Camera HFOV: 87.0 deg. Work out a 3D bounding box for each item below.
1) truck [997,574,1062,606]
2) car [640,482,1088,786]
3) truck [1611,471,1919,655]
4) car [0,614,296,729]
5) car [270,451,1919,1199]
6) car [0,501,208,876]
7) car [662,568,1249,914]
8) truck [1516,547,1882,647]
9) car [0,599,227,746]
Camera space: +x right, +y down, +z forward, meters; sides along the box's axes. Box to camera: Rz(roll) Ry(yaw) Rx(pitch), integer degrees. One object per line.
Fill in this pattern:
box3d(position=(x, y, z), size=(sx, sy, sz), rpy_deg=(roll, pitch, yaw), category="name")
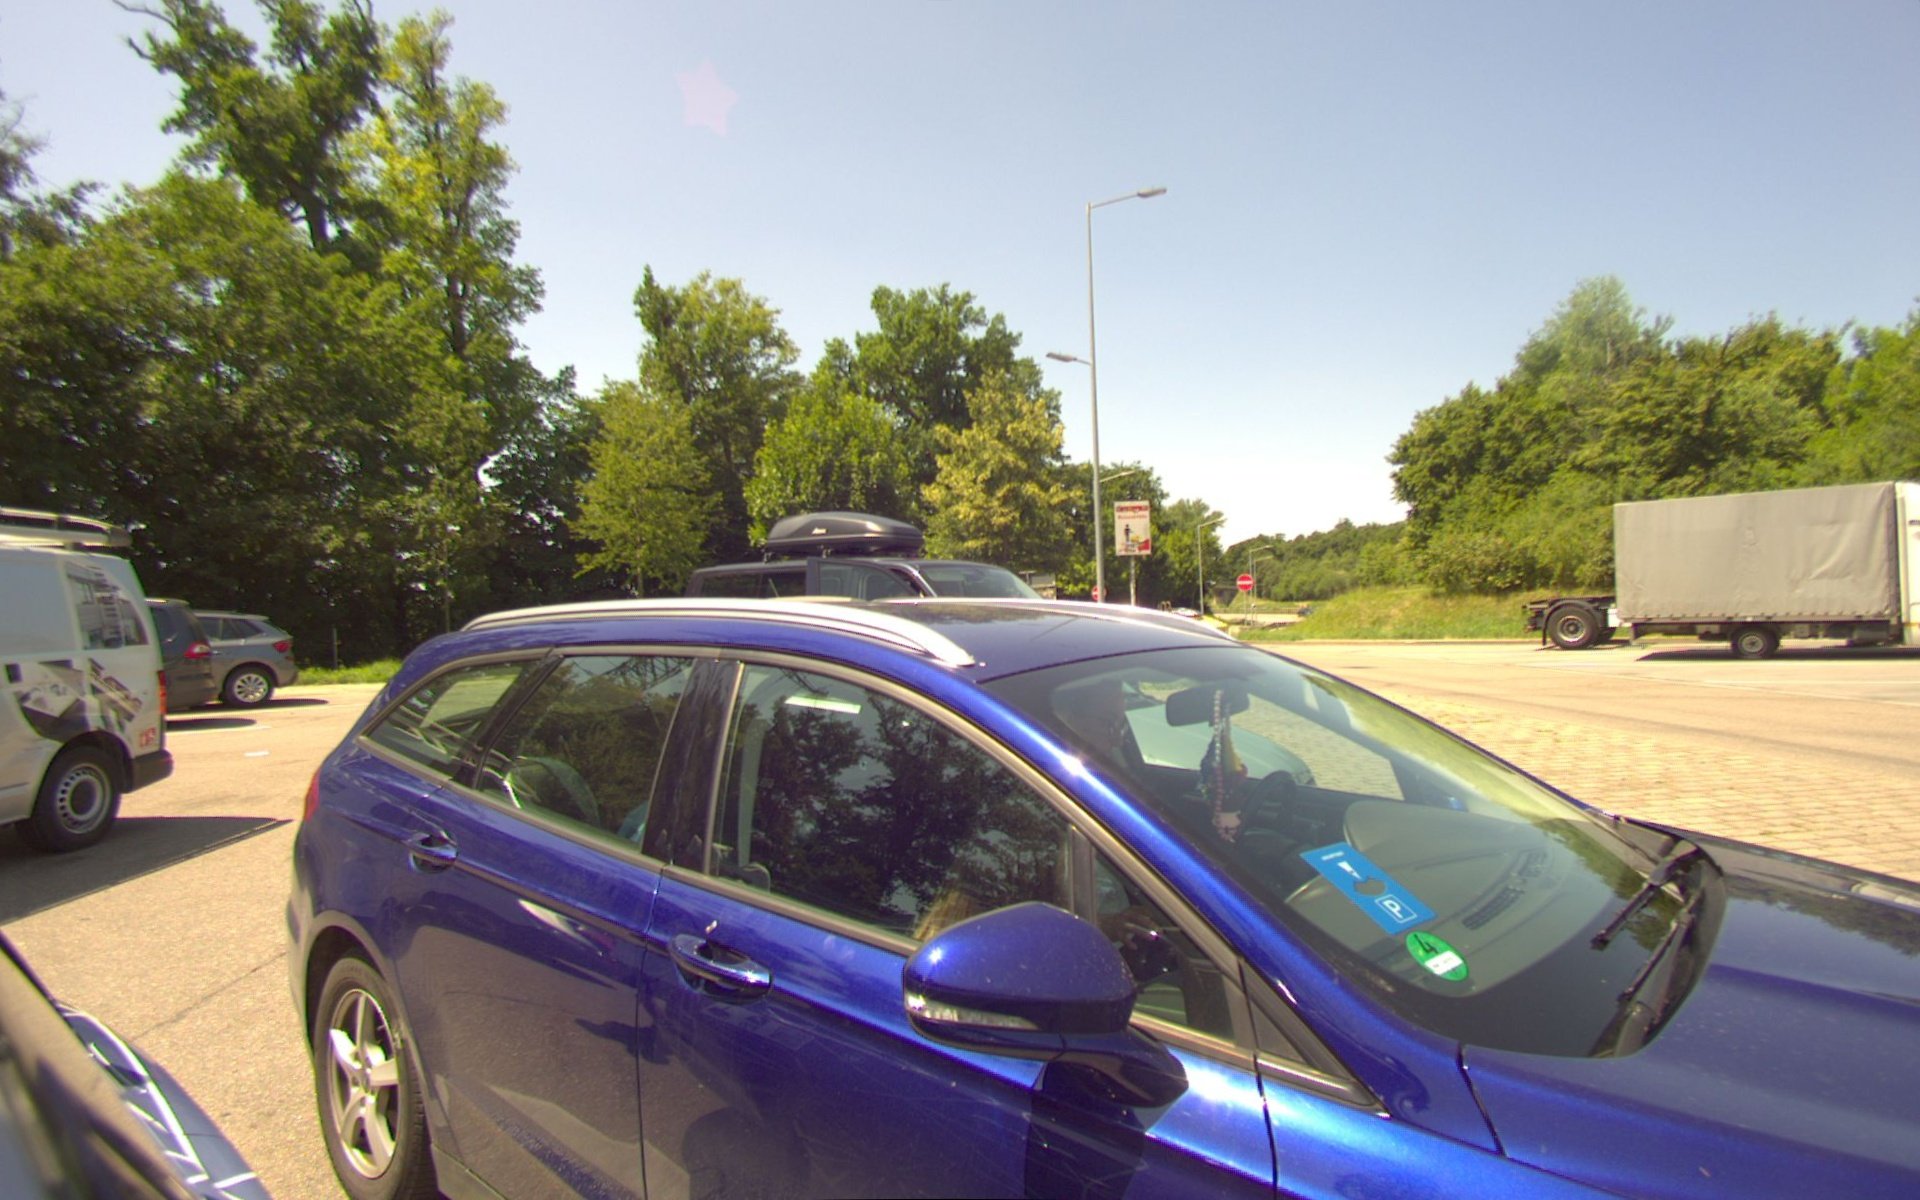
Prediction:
box3d(position=(3.361, -0.464, 48.813), size=(2.866, 1.386, 1.158), rpy_deg=(-2, -1, 22), category="truck")
box3d(position=(-1.025, 0.321, 9.689), size=(4.076, 2.336, 1.767), rpy_deg=(-2, -1, 35), category="car")
box3d(position=(16.582, -0.616, 18.802), size=(7.253, 3.175, 2.148), rpy_deg=(-2, -1, 41), category="truck")
box3d(position=(-12.546, 1.004, 15.706), size=(3.535, 1.513, 1.708), rpy_deg=(-1, 0, -42), category="car")
box3d(position=(0.258, 0.647, 2.077), size=(4.411, 1.429, 1.721), rpy_deg=(-2, -1, 41), category="car")
box3d(position=(-6.257, 0.489, 4.730), size=(1.816, 2.121, 5.440), rpy_deg=(0, -1, -5), category="car")
box3d(position=(-0.180, 0.597, 5.550), size=(3.112, 1.370, 1.326), rpy_deg=(-2, -1, 41), category="car")
box3d(position=(16.874, 0.043, 23.519), size=(6.613, 2.029, 1.973), rpy_deg=(-2, -1, 41), category="truck")
box3d(position=(-11.619, 0.868, 12.613), size=(1.755, 1.701, 3.798), rpy_deg=(-2, -1, 45), category="car")
